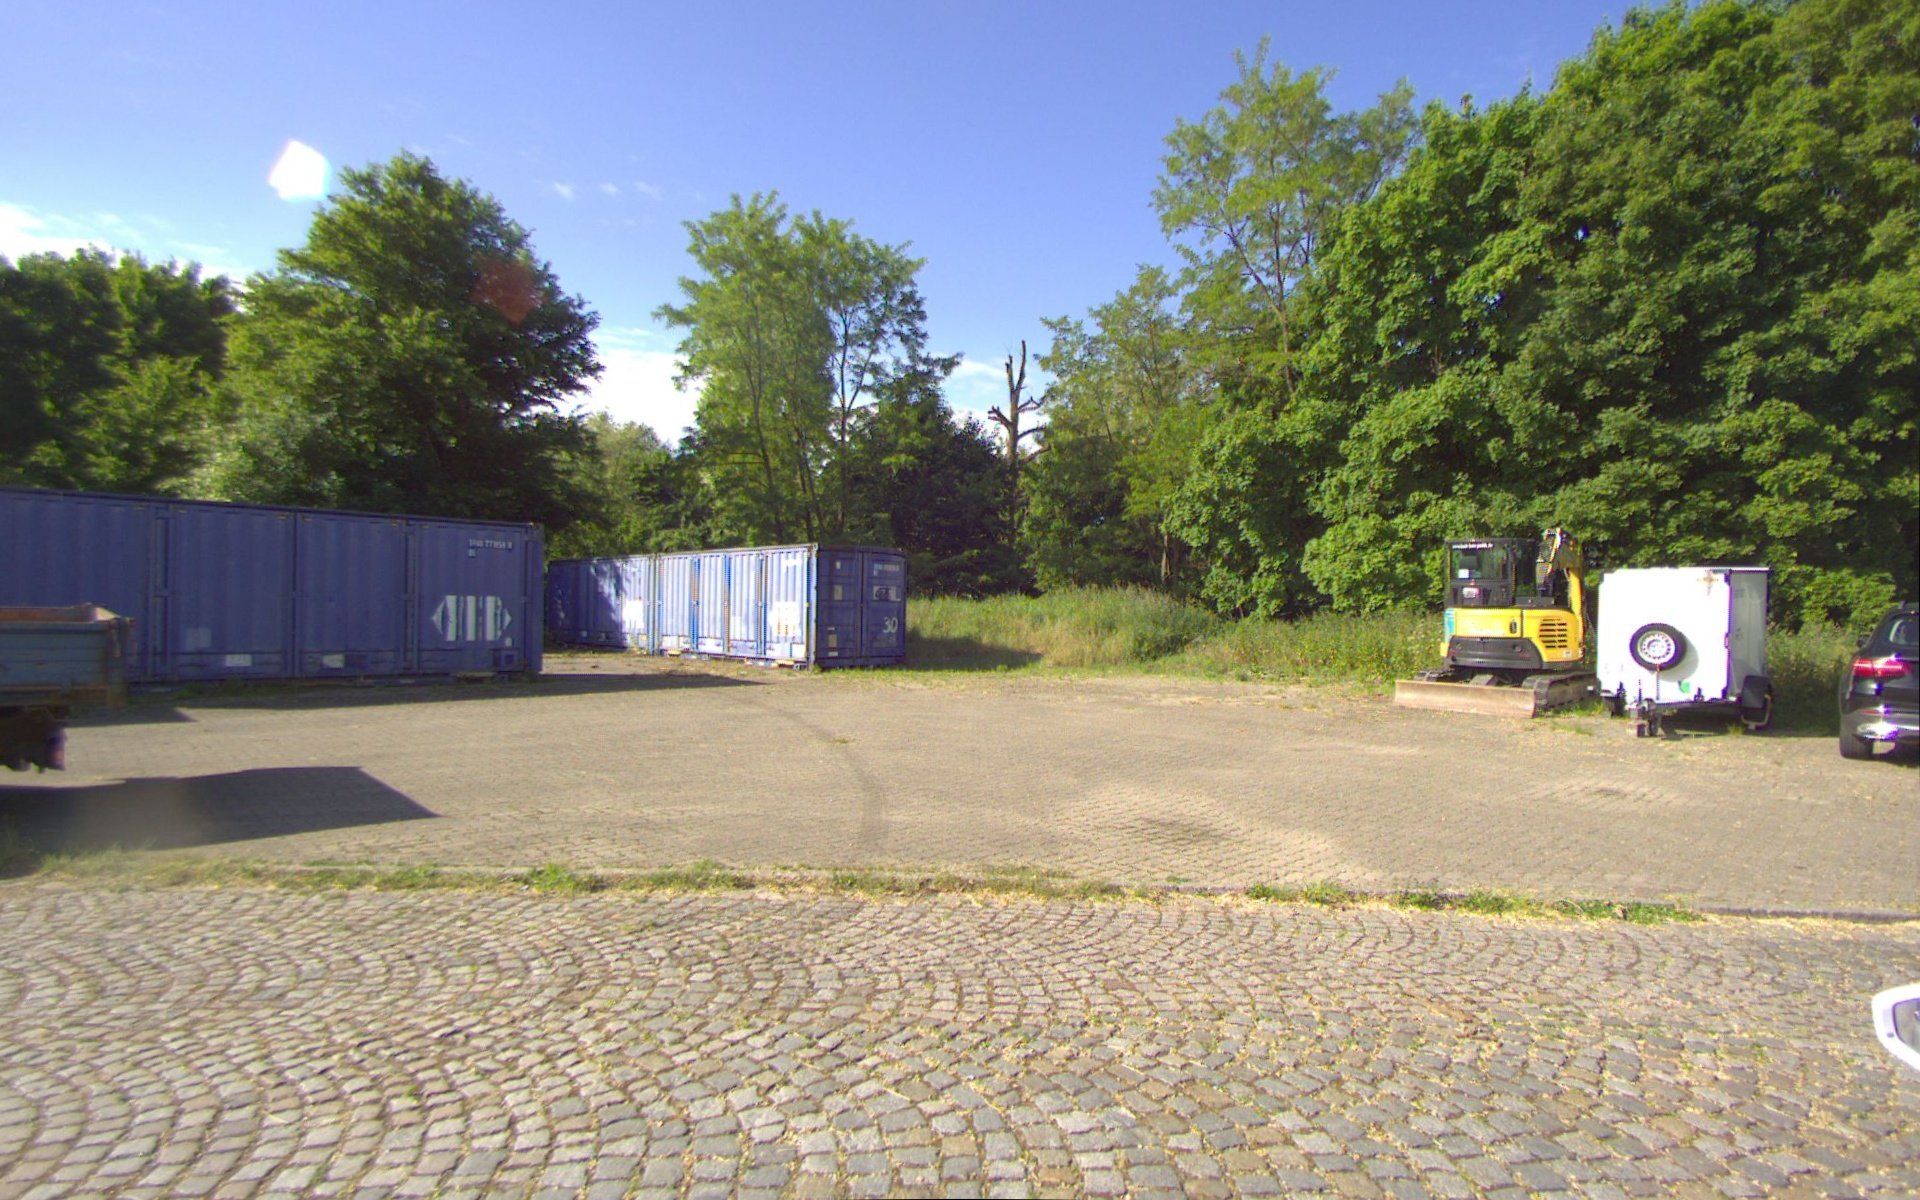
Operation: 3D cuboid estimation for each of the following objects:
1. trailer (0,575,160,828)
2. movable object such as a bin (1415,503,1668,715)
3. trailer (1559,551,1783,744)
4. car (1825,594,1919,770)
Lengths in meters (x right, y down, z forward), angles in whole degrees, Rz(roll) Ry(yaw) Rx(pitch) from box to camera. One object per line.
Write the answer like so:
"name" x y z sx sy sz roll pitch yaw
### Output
"trailer" -8.634 0.576 5.494 6.449 1.538 2.818 1 1 -44
"movable object such as a bin" 9.776 0.178 16.689 5.121 3.005 1.977 1 -1 -40
"trailer" 9.266 0.511 12.972 3.945 2.122 1.618 0 1 -43
"car" 10.646 0.804 10.596 3.792 1.663 1.845 1 0 -42
